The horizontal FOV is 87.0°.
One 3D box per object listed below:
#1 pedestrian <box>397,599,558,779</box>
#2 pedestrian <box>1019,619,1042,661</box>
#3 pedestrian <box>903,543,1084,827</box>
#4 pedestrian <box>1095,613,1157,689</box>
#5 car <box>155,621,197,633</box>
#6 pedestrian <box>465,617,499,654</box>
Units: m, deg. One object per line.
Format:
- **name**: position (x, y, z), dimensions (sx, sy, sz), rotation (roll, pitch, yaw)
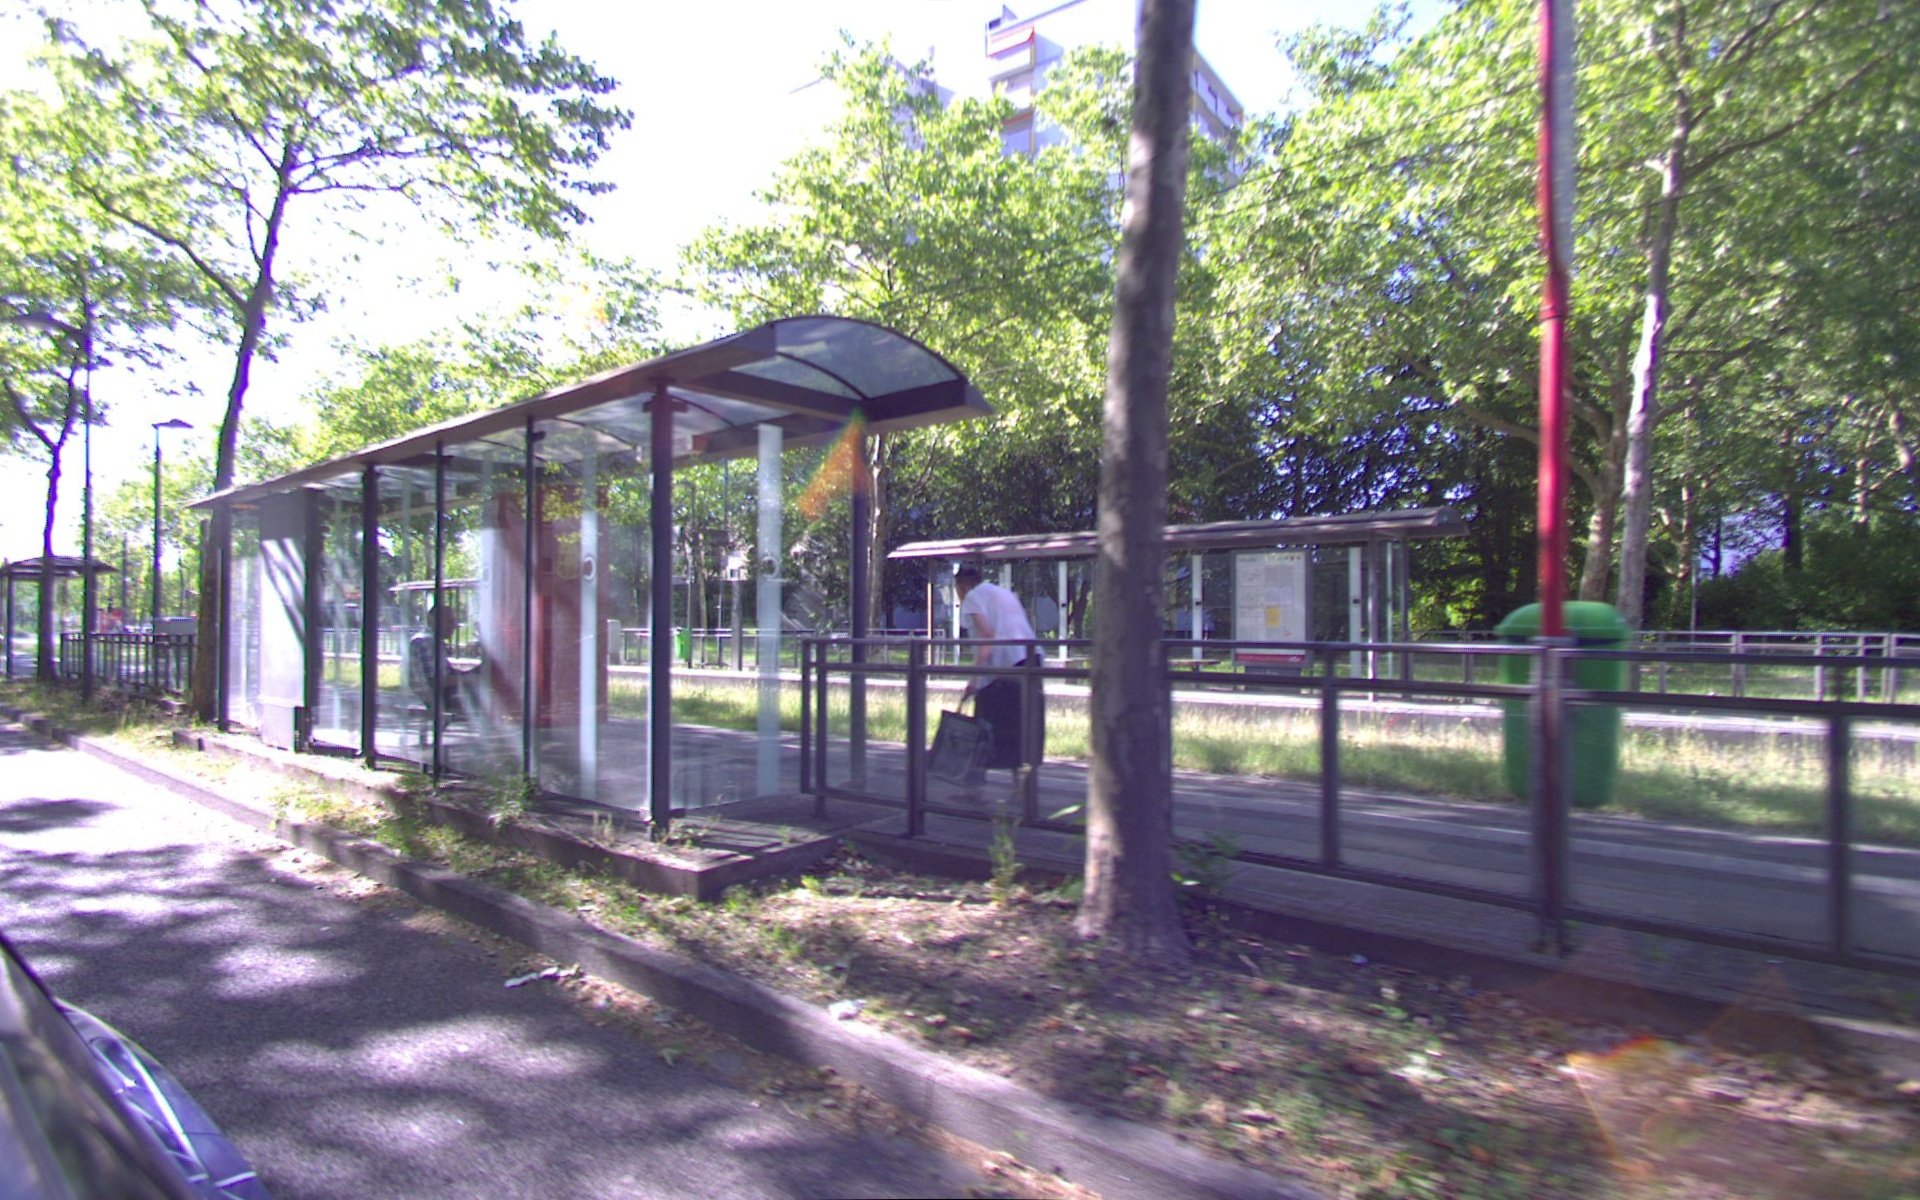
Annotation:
- **pedestrian**: position (-3.671, 0.632, 7.702), dimensions (0.850, 1.252, 0.846), rotation (-2, -1, 42)
- **pedestrian**: position (2.844, 1.627, 41.018), dimensions (0.650, 1.674, 0.641), rotation (-2, -2, 42)
- **pedestrian**: position (0.187, 0.433, 5.585), dimensions (0.681, 1.428, 0.717), rotation (-2, -1, 40)
- **pedestrian**: position (2.787, 0.839, 16.992), dimensions (0.721, 1.247, 0.770), rotation (-2, -2, 39)
- **car**: position (-101.306, 3.508, 130.747), dimensions (3.930, 1.522, 1.806), rotation (0, -2, -23)
- **pedestrian**: position (-16.062, 1.194, 33.997), dimensions (0.762, 1.192, 0.758), rotation (-2, 0, 41)
